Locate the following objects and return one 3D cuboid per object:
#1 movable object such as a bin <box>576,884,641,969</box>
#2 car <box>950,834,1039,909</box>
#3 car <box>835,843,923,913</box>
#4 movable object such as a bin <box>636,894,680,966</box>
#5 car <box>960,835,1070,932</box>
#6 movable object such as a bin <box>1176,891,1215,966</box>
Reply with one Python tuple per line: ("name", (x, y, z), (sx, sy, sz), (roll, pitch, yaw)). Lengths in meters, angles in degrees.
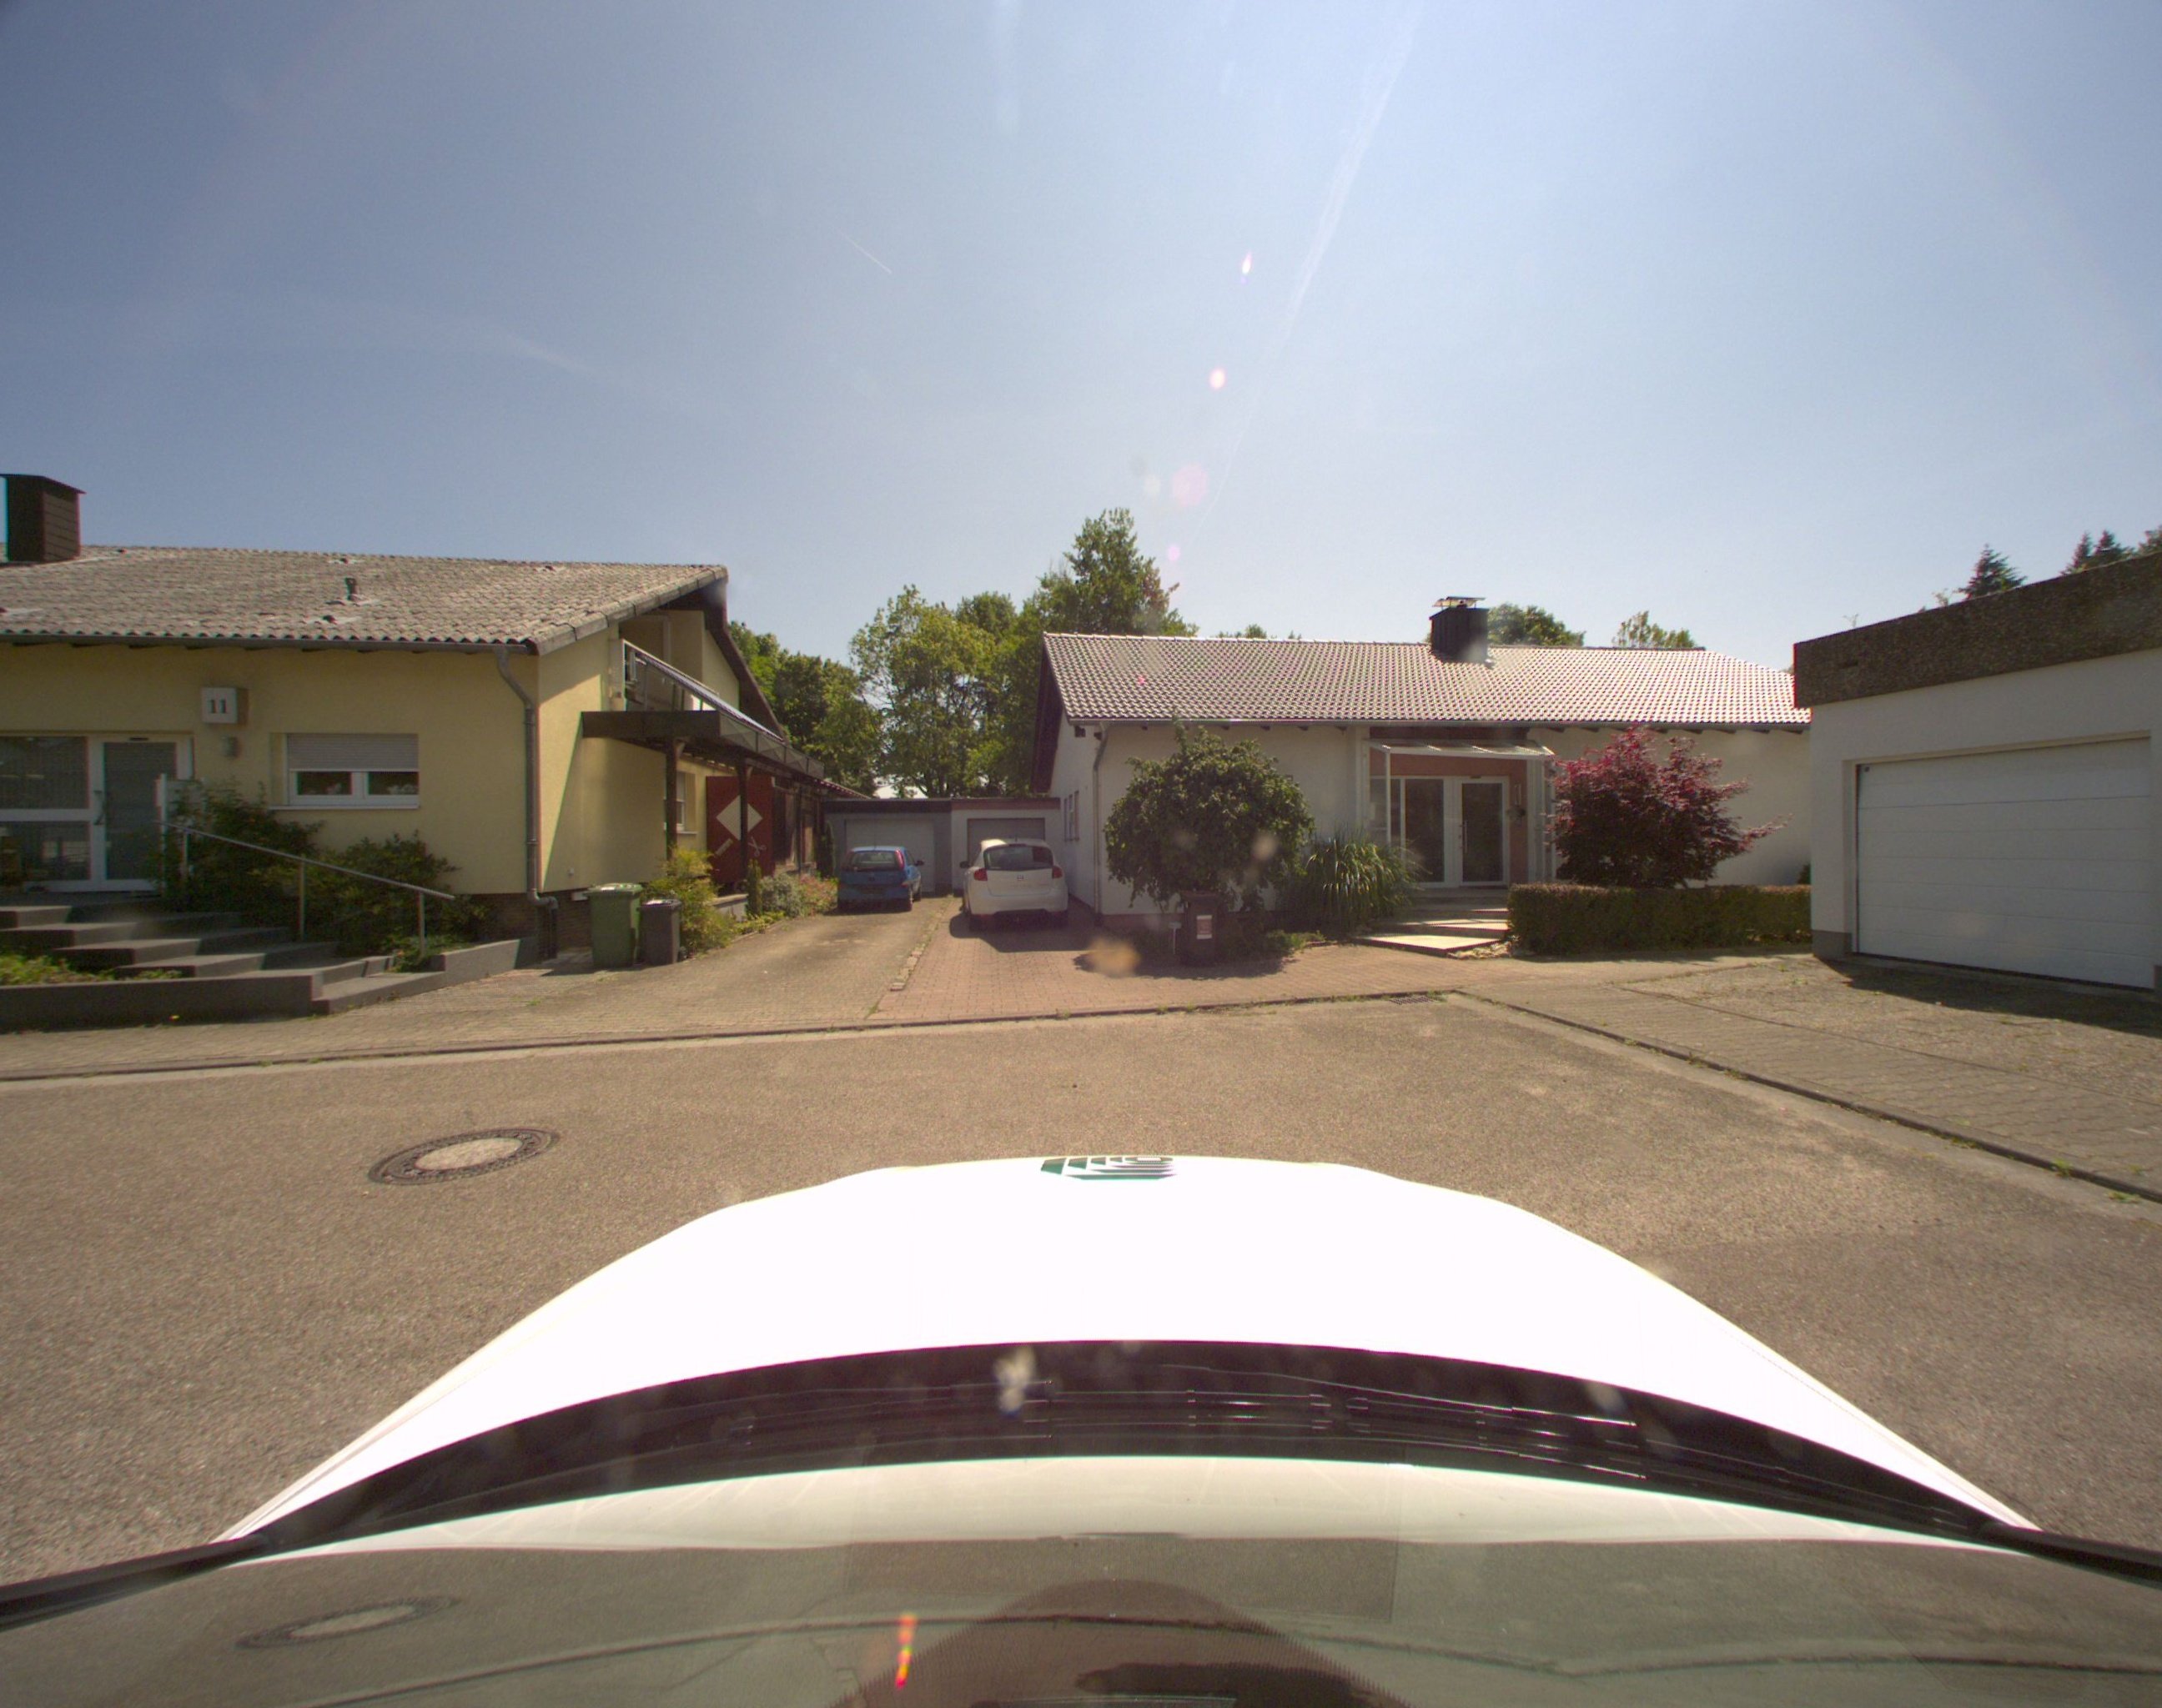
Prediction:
("movable object such as a bin", (-6.169, 0.936, 10.658), (0.592, 1.041, 0.489), (-2, 1, -14))
("car", (-2.120, 0.331, 20.106), (1.920, 1.607, 3.992), (-1, 1, -6))
("car", (-4.708, 0.498, 19.344), (1.613, 1.454, 3.247), (0, 2, -7))
("movable object such as a bin", (-5.580, 0.990, 10.754), (0.407, 0.891, 0.424), (-2, 1, -15))
("car", (-1.378, 0.456, 15.498), (1.746, 1.568, 3.987), (-1, 1, -10))
("movable object such as a bin", (1.423, 0.917, 10.150), (0.373, 0.891, 0.389), (-1, 1, -8))
